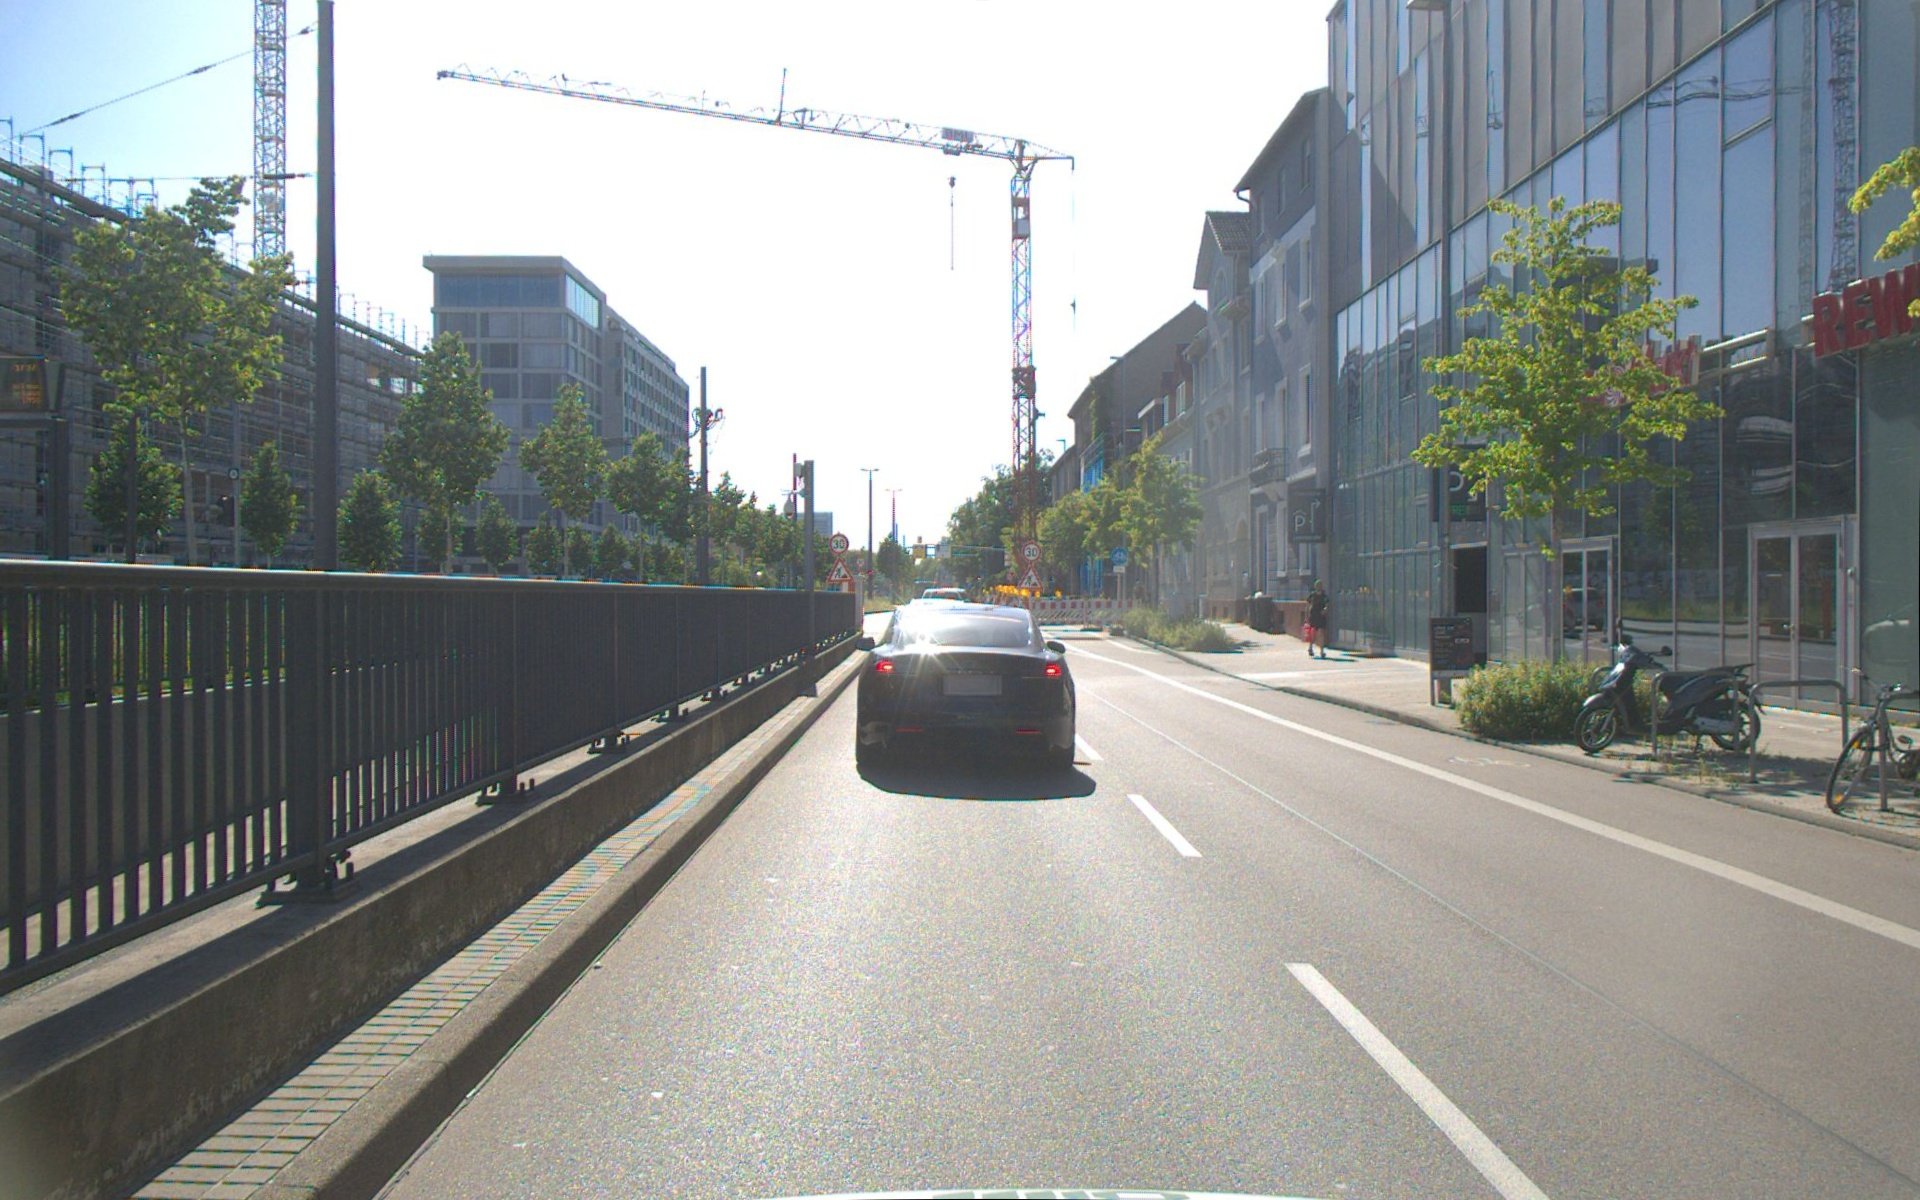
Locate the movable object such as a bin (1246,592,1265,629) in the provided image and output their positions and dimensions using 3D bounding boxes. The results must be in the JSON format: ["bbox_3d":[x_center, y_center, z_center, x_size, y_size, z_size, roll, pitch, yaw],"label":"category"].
[{"bbox_3d":[9.753,0.348,54.580,0.547,1.189,0.562,1,0,3],"label":"movable object such as a bin"}]

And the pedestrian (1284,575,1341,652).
[{"bbox_3d":[8.828,0.328,41.464,1.073,1.896,1.522,0,0,-2],"label":"pedestrian"}]

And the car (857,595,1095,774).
[{"bbox_3d":[0.123,0.693,15.923,1.958,1.459,4.412,1,0,0],"label":"car"}]

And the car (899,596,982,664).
[{"bbox_3d":[-0.383,0.605,35.576,1.681,1.343,4.000,0,1,0],"label":"car"}]

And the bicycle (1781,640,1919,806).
[{"bbox_3d":[7.384,0.912,12.743,1.847,1.171,0.670,-2,0,-11],"label":"bicycle"}]

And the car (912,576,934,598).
[{"bbox_3d":[-3.160,-1.108,141.489,1.776,1.841,4.039,0,1,1],"label":"car"}]

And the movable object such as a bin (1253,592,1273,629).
[{"bbox_3d":[9.841,0.349,53.732,0.547,1.189,0.562,1,0,3],"label":"movable object such as a bin"}]

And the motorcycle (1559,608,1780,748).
[{"bbox_3d":[7.383,0.818,17.292,2.030,1.377,0.652,-3,-1,23],"label":"motorcycle"}]

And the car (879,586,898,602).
[{"bbox_3d":[-7.658,-0.642,177.598,1.953,1.713,3.999,1,0,-2],"label":"car"}]

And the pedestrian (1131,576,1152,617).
[{"bbox_3d":[8.368,-0.171,76.468,0.834,1.896,0.929,0,0,-2],"label":"pedestrian"}]

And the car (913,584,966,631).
[{"bbox_3d":[-0.681,0.248,58.308,1.748,1.573,4.039,0,1,1],"label":"car"}]
